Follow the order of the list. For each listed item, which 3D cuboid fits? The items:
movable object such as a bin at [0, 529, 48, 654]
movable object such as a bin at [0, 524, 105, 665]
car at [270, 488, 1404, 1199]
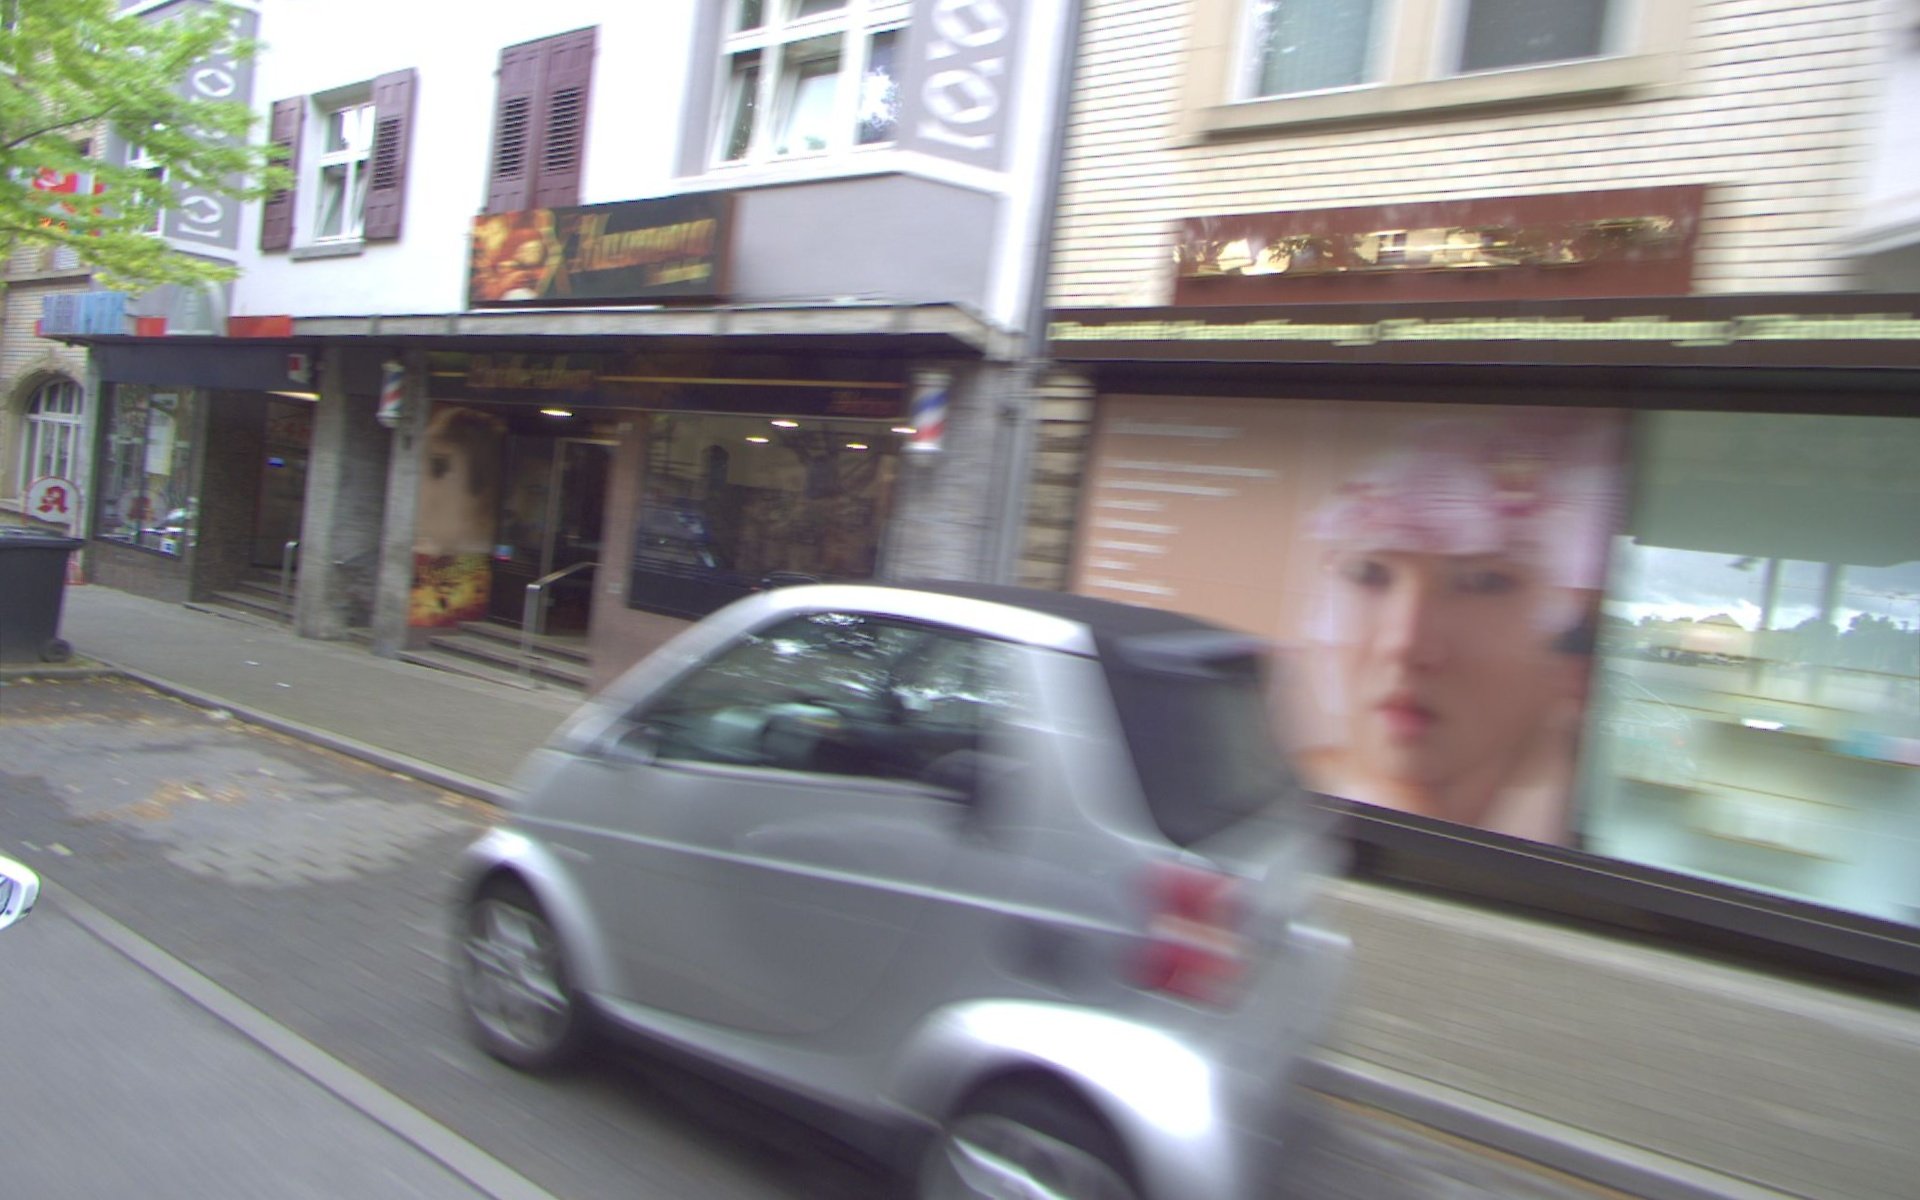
[{"bbox_3d":[-8.415,-0.091,8.683,0.613,1.037,0.578,7,1,28],"label":"movable object such as a bin"},{"bbox_3d":[-7.736,-0.048,8.354,0.613,1.086,0.696,7,0,27],"label":"movable object such as a bin"},{"bbox_3d":[-0.588,0.584,3.338,3.463,1.555,1.482,7,3,32],"label":"car"}]
